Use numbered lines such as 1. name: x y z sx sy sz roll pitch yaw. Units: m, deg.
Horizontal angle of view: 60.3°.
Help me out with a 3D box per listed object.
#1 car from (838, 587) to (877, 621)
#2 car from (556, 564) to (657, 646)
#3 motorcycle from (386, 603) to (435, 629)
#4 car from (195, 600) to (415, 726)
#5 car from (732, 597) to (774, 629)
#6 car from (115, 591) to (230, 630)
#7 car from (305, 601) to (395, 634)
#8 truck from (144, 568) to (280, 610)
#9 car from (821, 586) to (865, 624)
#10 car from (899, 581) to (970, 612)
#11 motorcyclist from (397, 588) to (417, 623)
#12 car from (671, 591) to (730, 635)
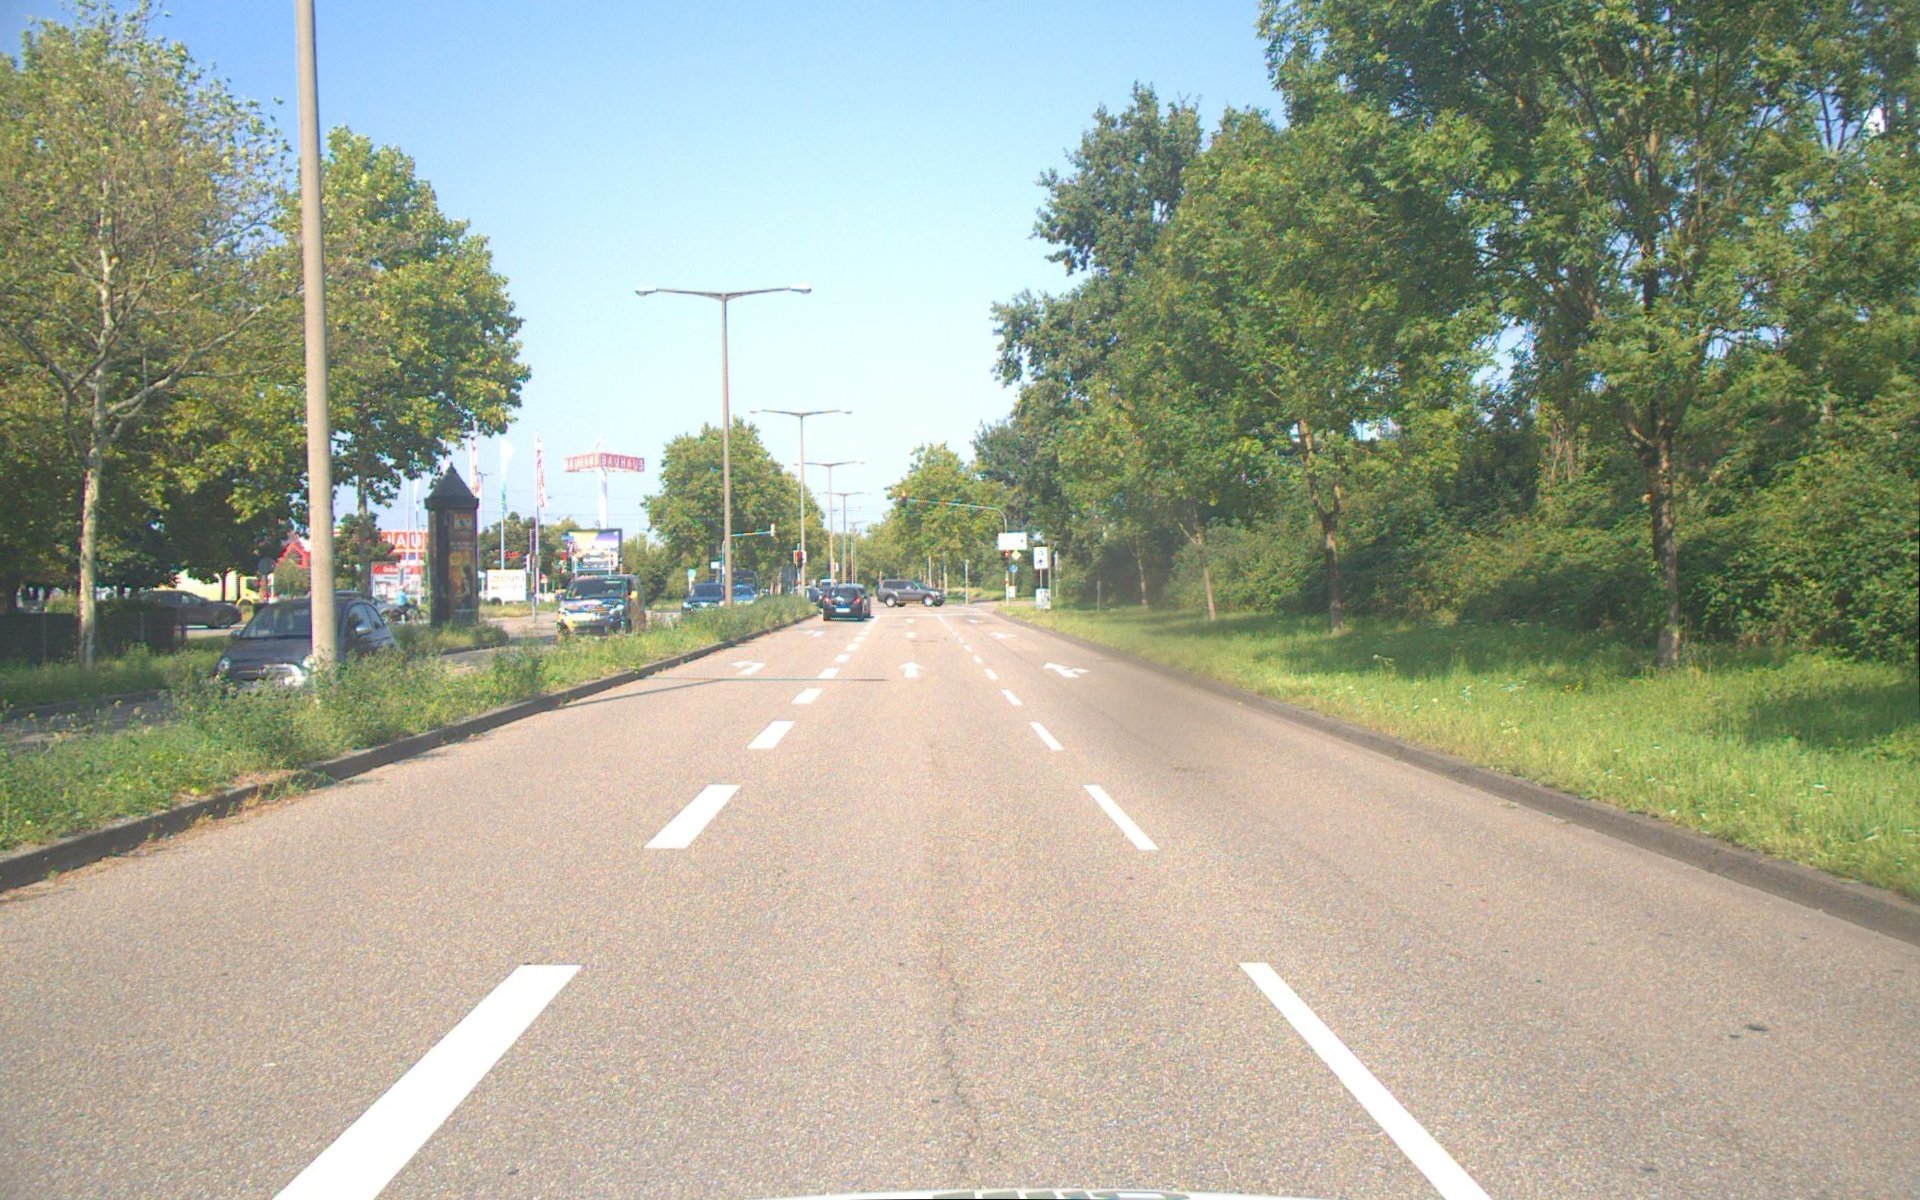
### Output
1. car: -4.759 0.161 76.892 1.658 1.512 3.998 -2 0 -2
2. car: -9.541 0.122 44.947 1.893 2.063 4.564 -2 0 -3
3. motorcycle: -25.167 0.726 75.798 2.054 1.156 0.668 -1 0 -38
4. car: -8.552 0.763 21.888 1.643 1.512 3.491 0 0 -3
5. car: -10.731 0.661 85.865 1.737 1.601 3.999 0 0 -2
6. car: -33.863 0.430 71.166 4.271 1.606 1.549 0 0 -40
7. car: -28.272 0.814 76.732 3.665 1.468 1.447 0 0 -38
8. truck: -57.105 -0.860 126.358 8.922 3.009 3.467 -2 1 -38
9. car: -4.964 0.192 70.456 1.658 1.512 3.999 -2 0 -2
10. car: -1.679 -0.218 108.789 4.179 1.868 1.912 -2 0 23
11. motorcyclist: -25.312 0.262 75.689 0.676 1.599 0.674 0 0 -38
12. car: -10.637 0.506 67.999 1.954 1.736 4.501 0 0 -3
